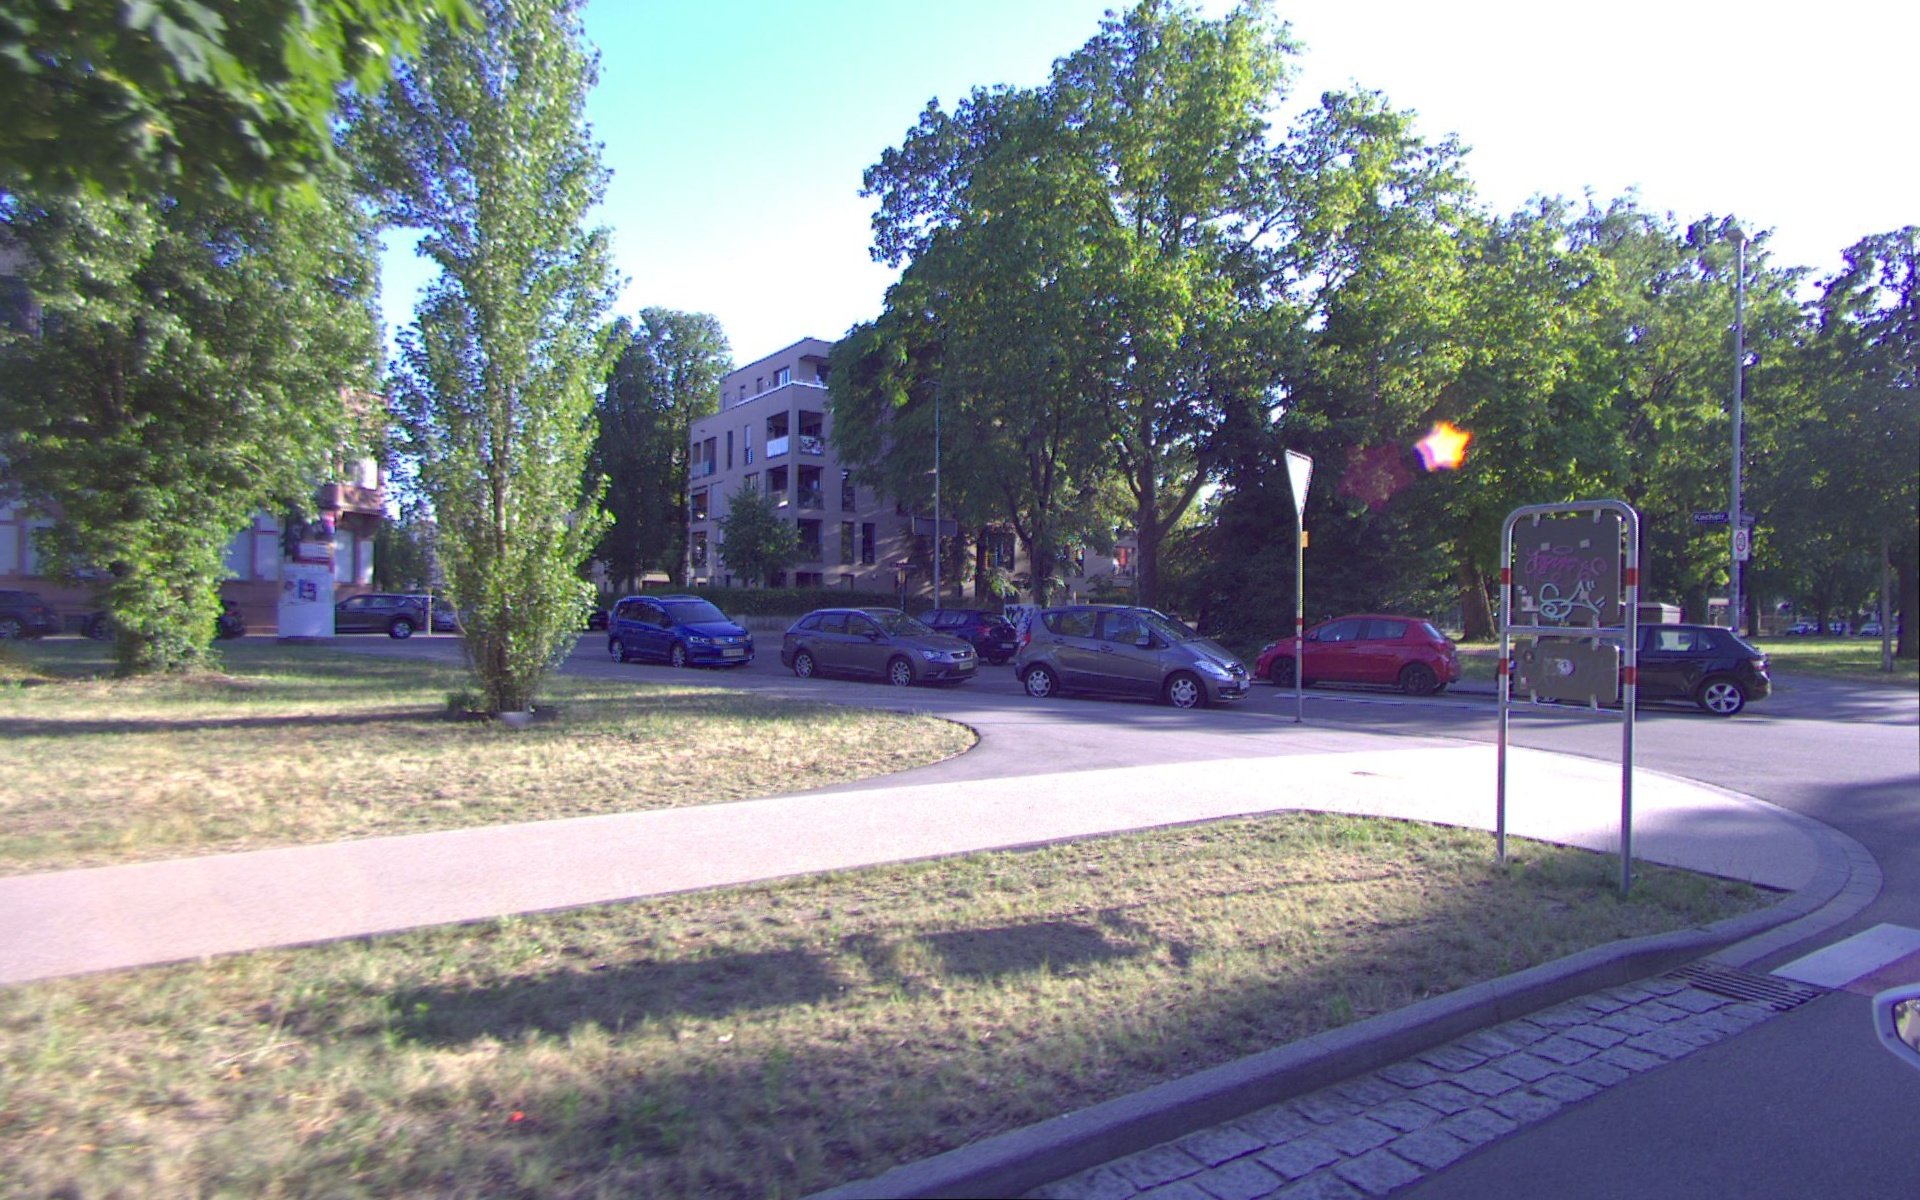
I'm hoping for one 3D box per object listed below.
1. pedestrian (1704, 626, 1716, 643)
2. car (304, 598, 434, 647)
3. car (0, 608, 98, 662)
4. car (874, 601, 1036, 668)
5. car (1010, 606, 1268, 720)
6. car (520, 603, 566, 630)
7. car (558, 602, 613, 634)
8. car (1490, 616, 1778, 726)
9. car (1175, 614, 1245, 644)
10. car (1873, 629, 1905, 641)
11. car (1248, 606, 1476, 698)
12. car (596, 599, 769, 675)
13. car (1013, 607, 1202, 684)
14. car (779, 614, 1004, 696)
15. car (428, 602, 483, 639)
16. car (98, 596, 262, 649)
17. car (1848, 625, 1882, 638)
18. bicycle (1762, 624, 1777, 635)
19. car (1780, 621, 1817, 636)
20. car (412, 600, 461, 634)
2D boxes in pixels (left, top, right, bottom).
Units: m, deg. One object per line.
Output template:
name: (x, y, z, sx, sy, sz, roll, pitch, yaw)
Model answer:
pedestrian: (47.022, 2.166, 62.970, 0.605, 1.000, 0.543, 2, -1, -42)
car: (-21.522, 0.840, 36.684, 3.956, 1.594, 1.875, 3, -2, -32)
car: (-30.263, 1.061, 31.495, 4.544, 1.594, 1.876, 3, -2, -29)
car: (-0.163, 0.887, 26.553, 3.937, 1.594, 1.884, 1, -2, 38)
car: (2.912, 0.954, 16.580, 3.782, 1.653, 1.835, 0, -1, 34)
car: (-26.107, 1.019, 62.838, 1.872, 1.594, 3.963, 3, -2, -34)
car: (-20.365, 0.980, 54.557, 1.872, 1.594, 3.962, 3, -2, -34)
car: (11.512, 1.157, 17.419, 3.932, 1.594, 1.886, 1, -2, 33)
car: (14.653, 1.701, 58.766, 3.697, 1.639, 1.982, 1, 0, -33)
car: (115.586, 4.352, 124.947, 4.070, 1.528, 1.983, 2, -1, -32)
car: (8.009, 0.986, 20.099, 3.932, 1.594, 1.886, 1, -2, 33)
car: (-6.661, 0.829, 23.920, 4.210, 1.665, 1.832, 0, -1, 39)
car: (3.414, 1.026, 23.469, 3.936, 1.594, 1.884, 1, -2, 37)
car: (-1.402, 1.007, 19.736, 4.207, 1.419, 1.834, 0, -1, 36)
car: (-23.367, 0.948, 46.471, 1.870, 1.594, 3.965, 3, -2, -32)
car: (-25.940, 0.769, 33.592, 3.947, 1.594, 1.879, 3, -2, -26)
car: (108.100, 3.772, 119.956, 4.070, 1.528, 1.983, 2, -1, -32)
bicycle: (87.810, 3.222, 108.960, 2.311, 1.191, 0.652, 2, -1, -36)
car: (90.185, 3.079, 108.066, 3.956, 1.528, 1.983, 2, -1, -32)
car: (-26.688, 0.865, 51.159, 1.871, 1.594, 3.964, 3, -2, -32)
